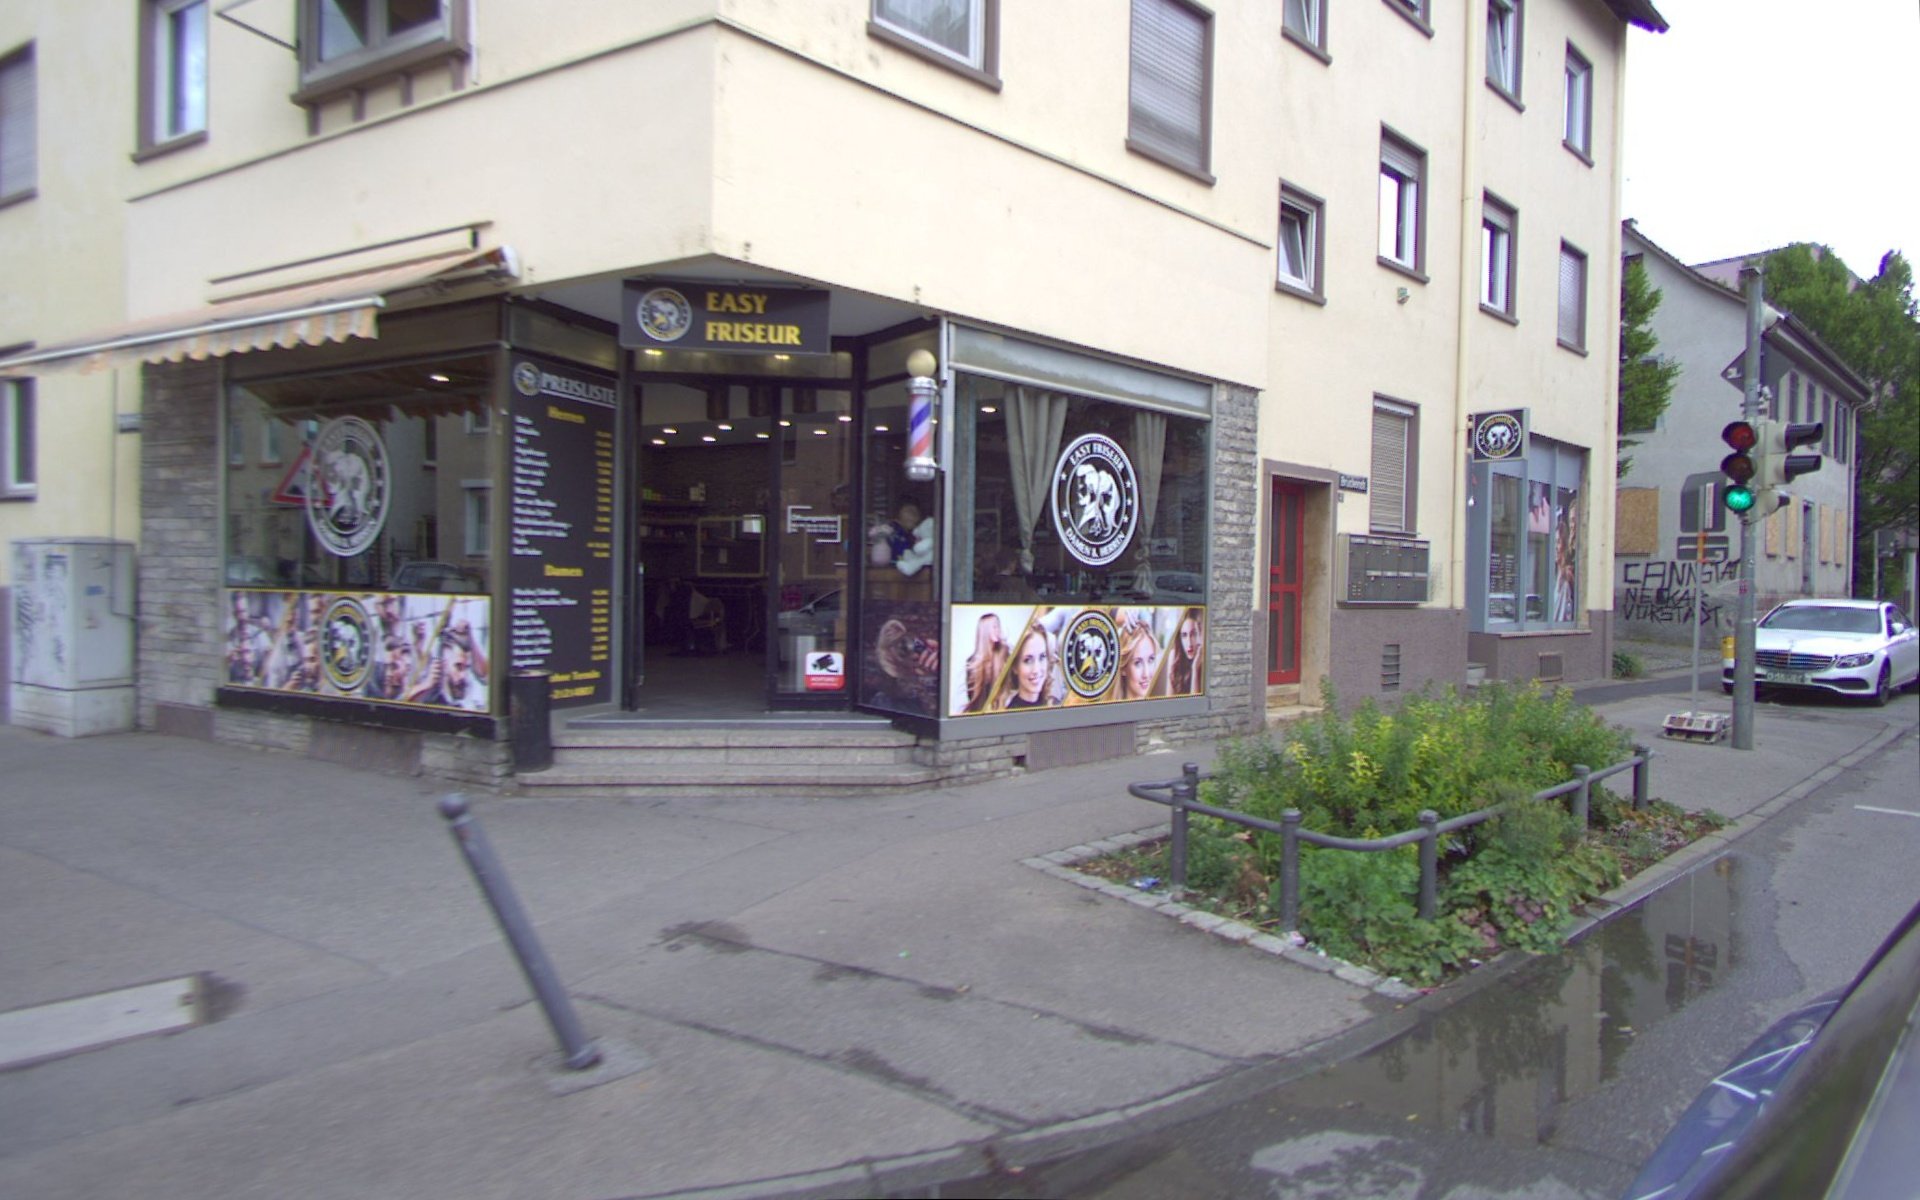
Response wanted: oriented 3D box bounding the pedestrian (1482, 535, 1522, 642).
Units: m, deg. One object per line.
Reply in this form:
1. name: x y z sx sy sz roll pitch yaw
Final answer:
1. pedestrian: 7.976 -0.170 14.890 0.412 1.550 0.373 -1 1 -38

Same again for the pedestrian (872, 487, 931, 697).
1. pedestrian: -0.508 -0.069 8.893 0.391 1.796 0.385 -1 1 16

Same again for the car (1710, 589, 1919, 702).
1. car: 13.495 0.584 15.714 4.695 1.484 1.772 -1 1 -38
